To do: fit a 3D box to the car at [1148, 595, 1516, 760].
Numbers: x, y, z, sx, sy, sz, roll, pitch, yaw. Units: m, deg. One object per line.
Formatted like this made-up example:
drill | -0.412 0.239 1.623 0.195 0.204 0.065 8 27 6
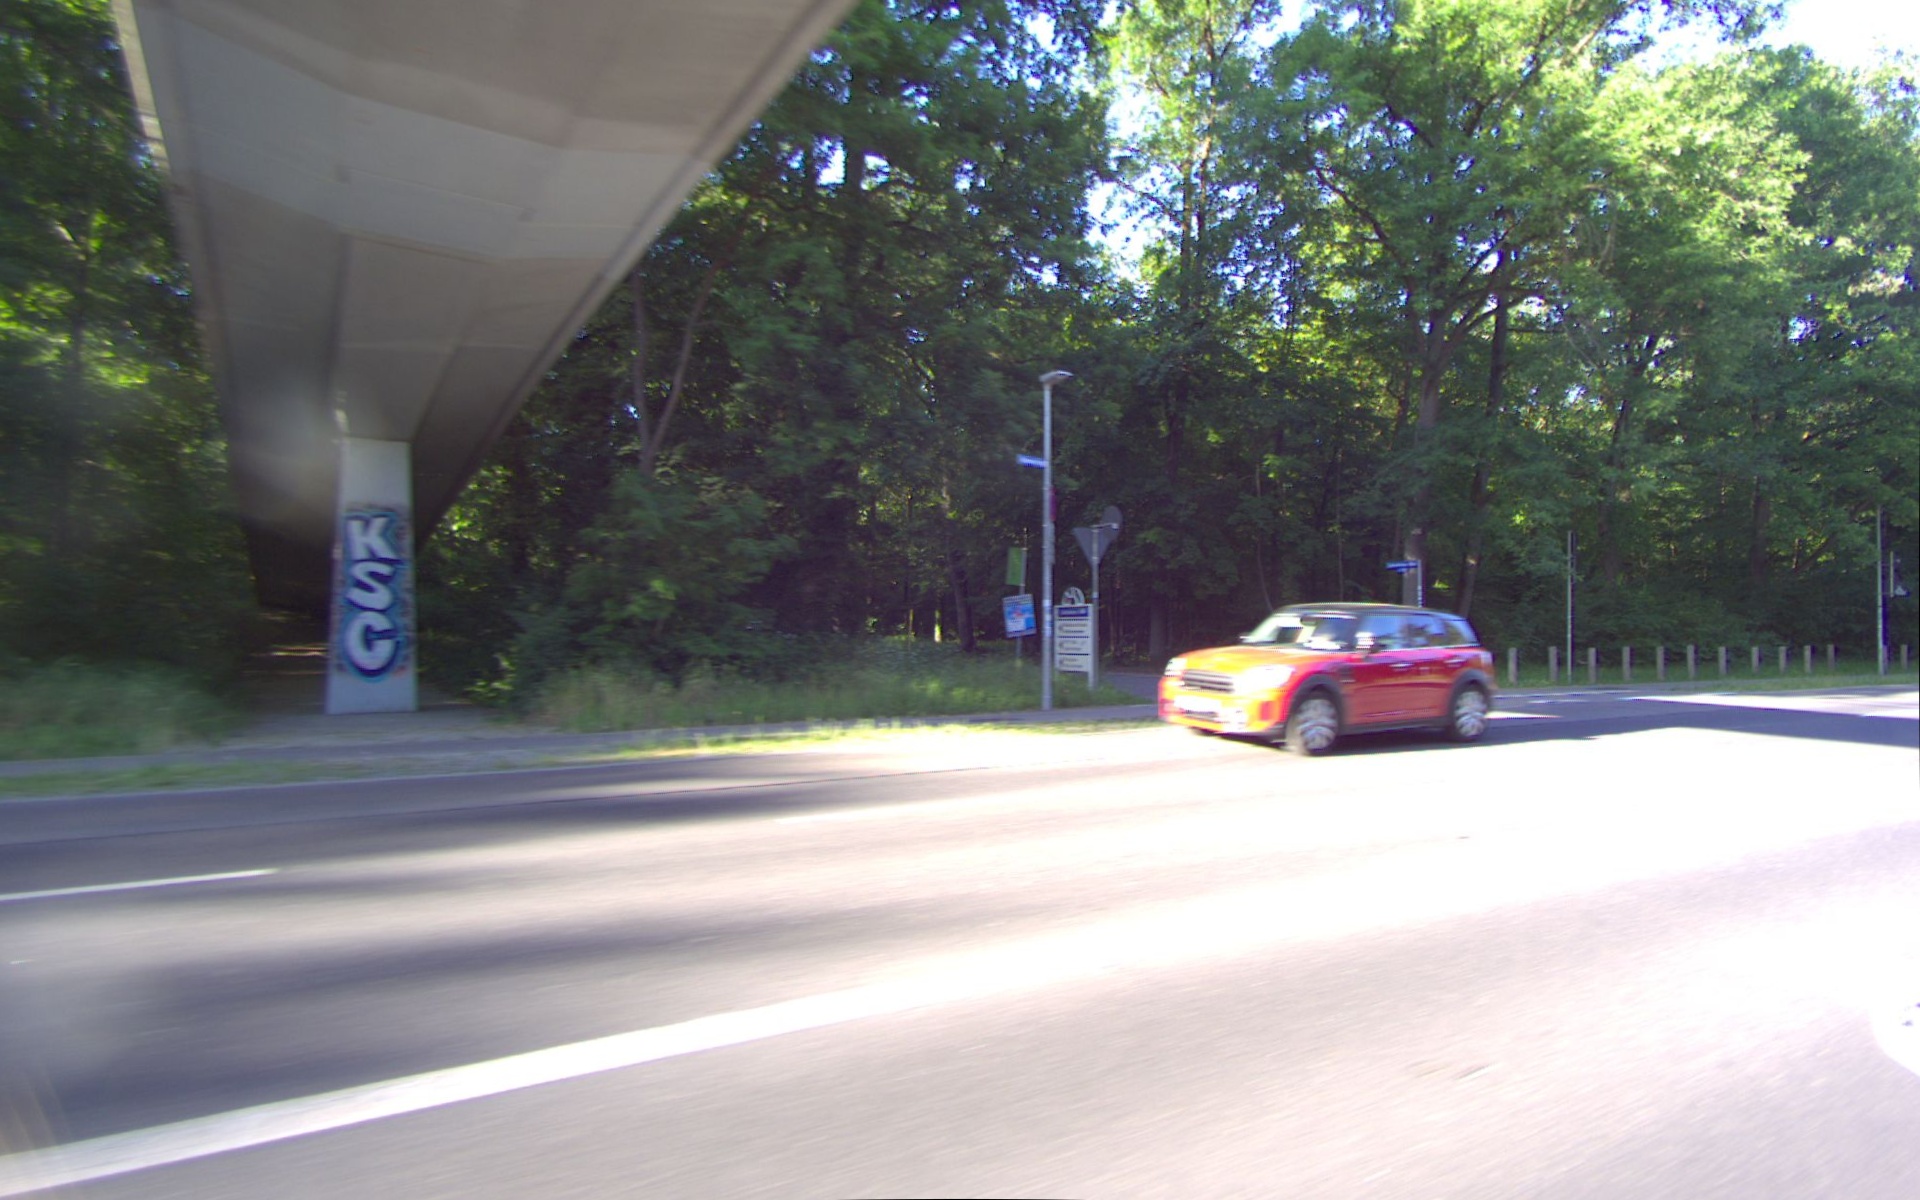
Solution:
car | 4.354 0.791 11.637 4.118 1.604 1.753 1 0 -30
